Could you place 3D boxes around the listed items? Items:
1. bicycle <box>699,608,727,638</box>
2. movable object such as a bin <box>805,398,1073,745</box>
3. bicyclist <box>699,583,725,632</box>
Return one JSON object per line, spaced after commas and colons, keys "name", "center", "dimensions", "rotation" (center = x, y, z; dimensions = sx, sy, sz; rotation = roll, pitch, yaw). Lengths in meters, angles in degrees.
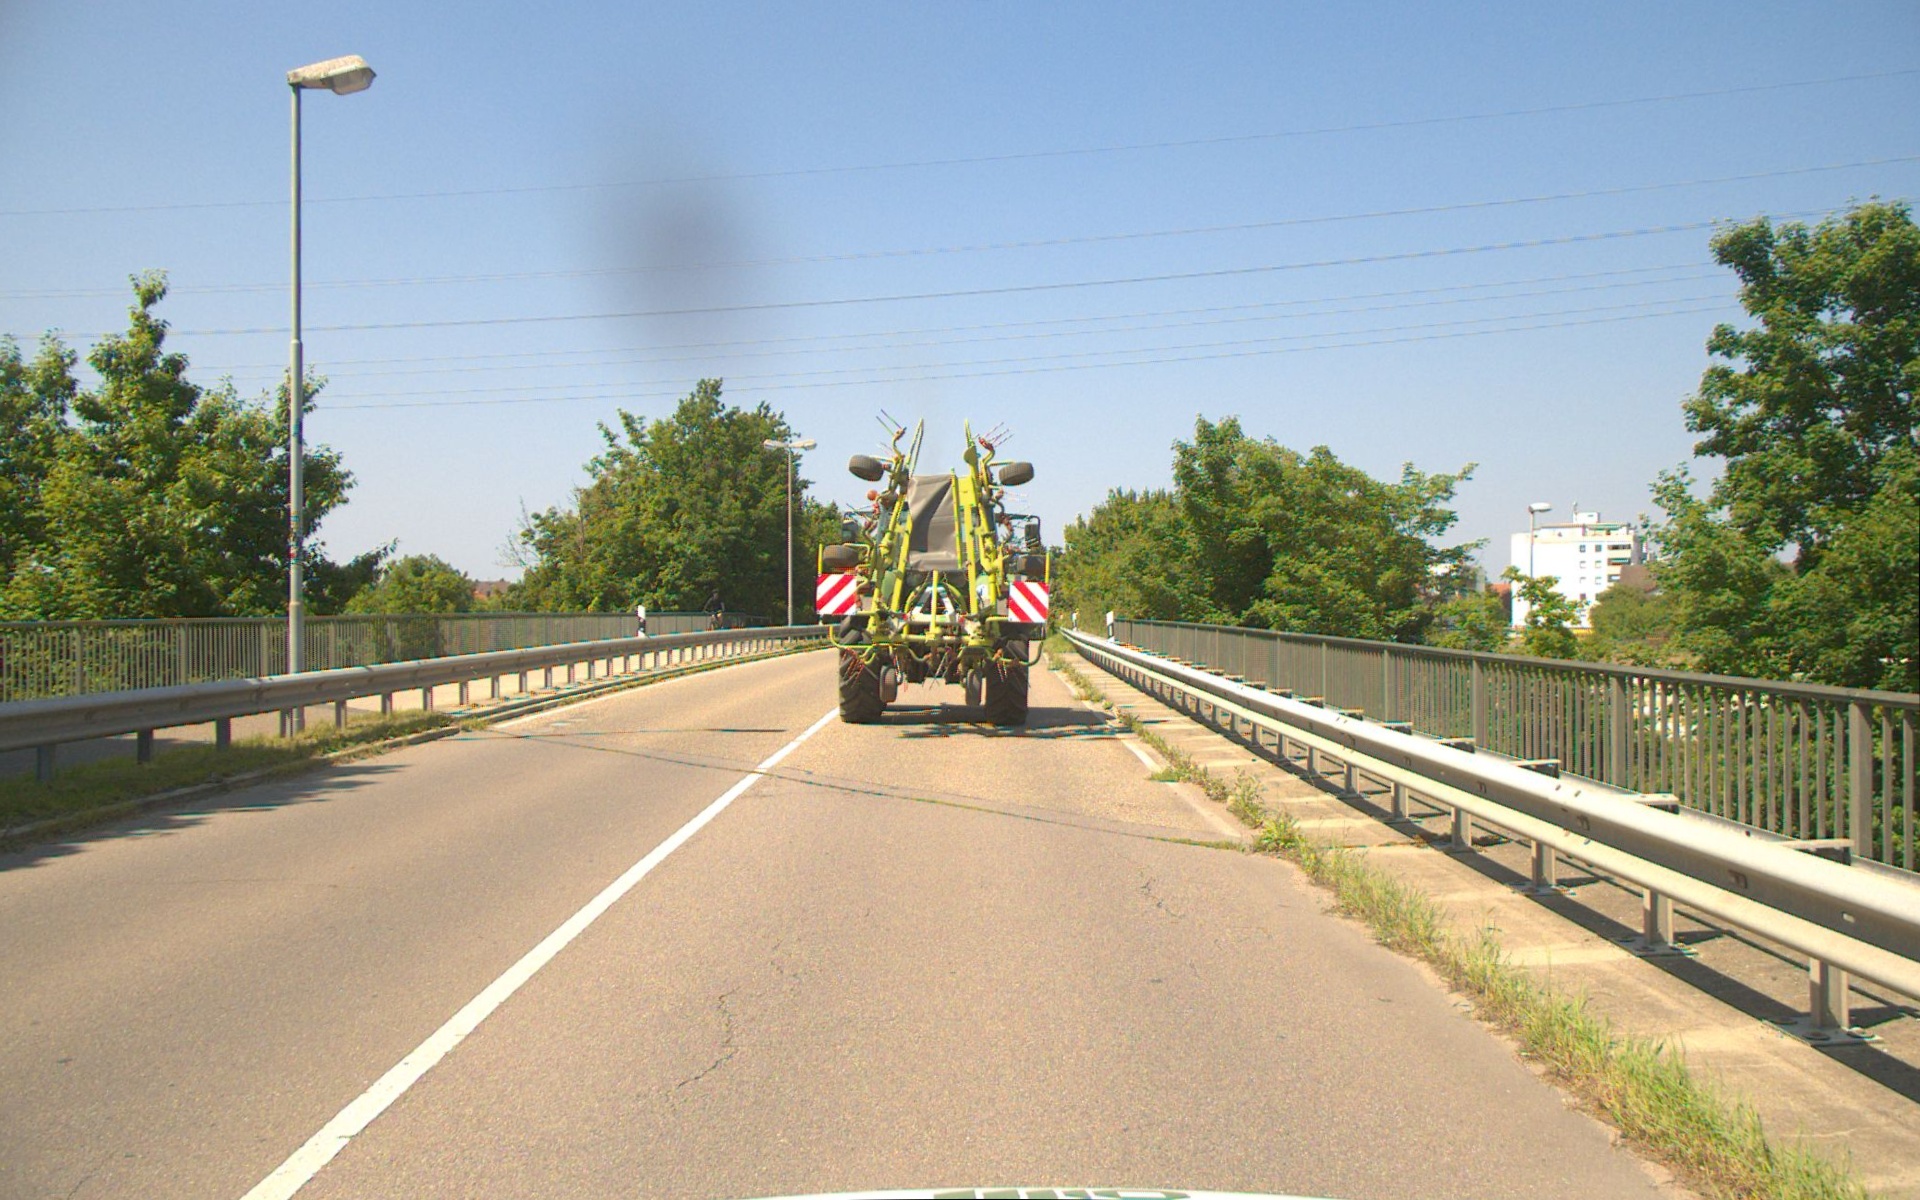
{"name": "bicycle", "center": [-8.530, 0.785, 57.136], "dimensions": [0.663, 1.019, 2.118], "rotation": [0, 0, -1]}
{"name": "movable object such as a bin", "center": [-0.271, -0.314, 19.667], "dimensions": [2.699, 3.504, 5.668], "rotation": [1, 1, -1]}
{"name": "bicyclist", "center": [-8.564, 0.245, 57.118], "dimensions": [0.749, 1.662, 0.895], "rotation": [0, 0, 0]}
